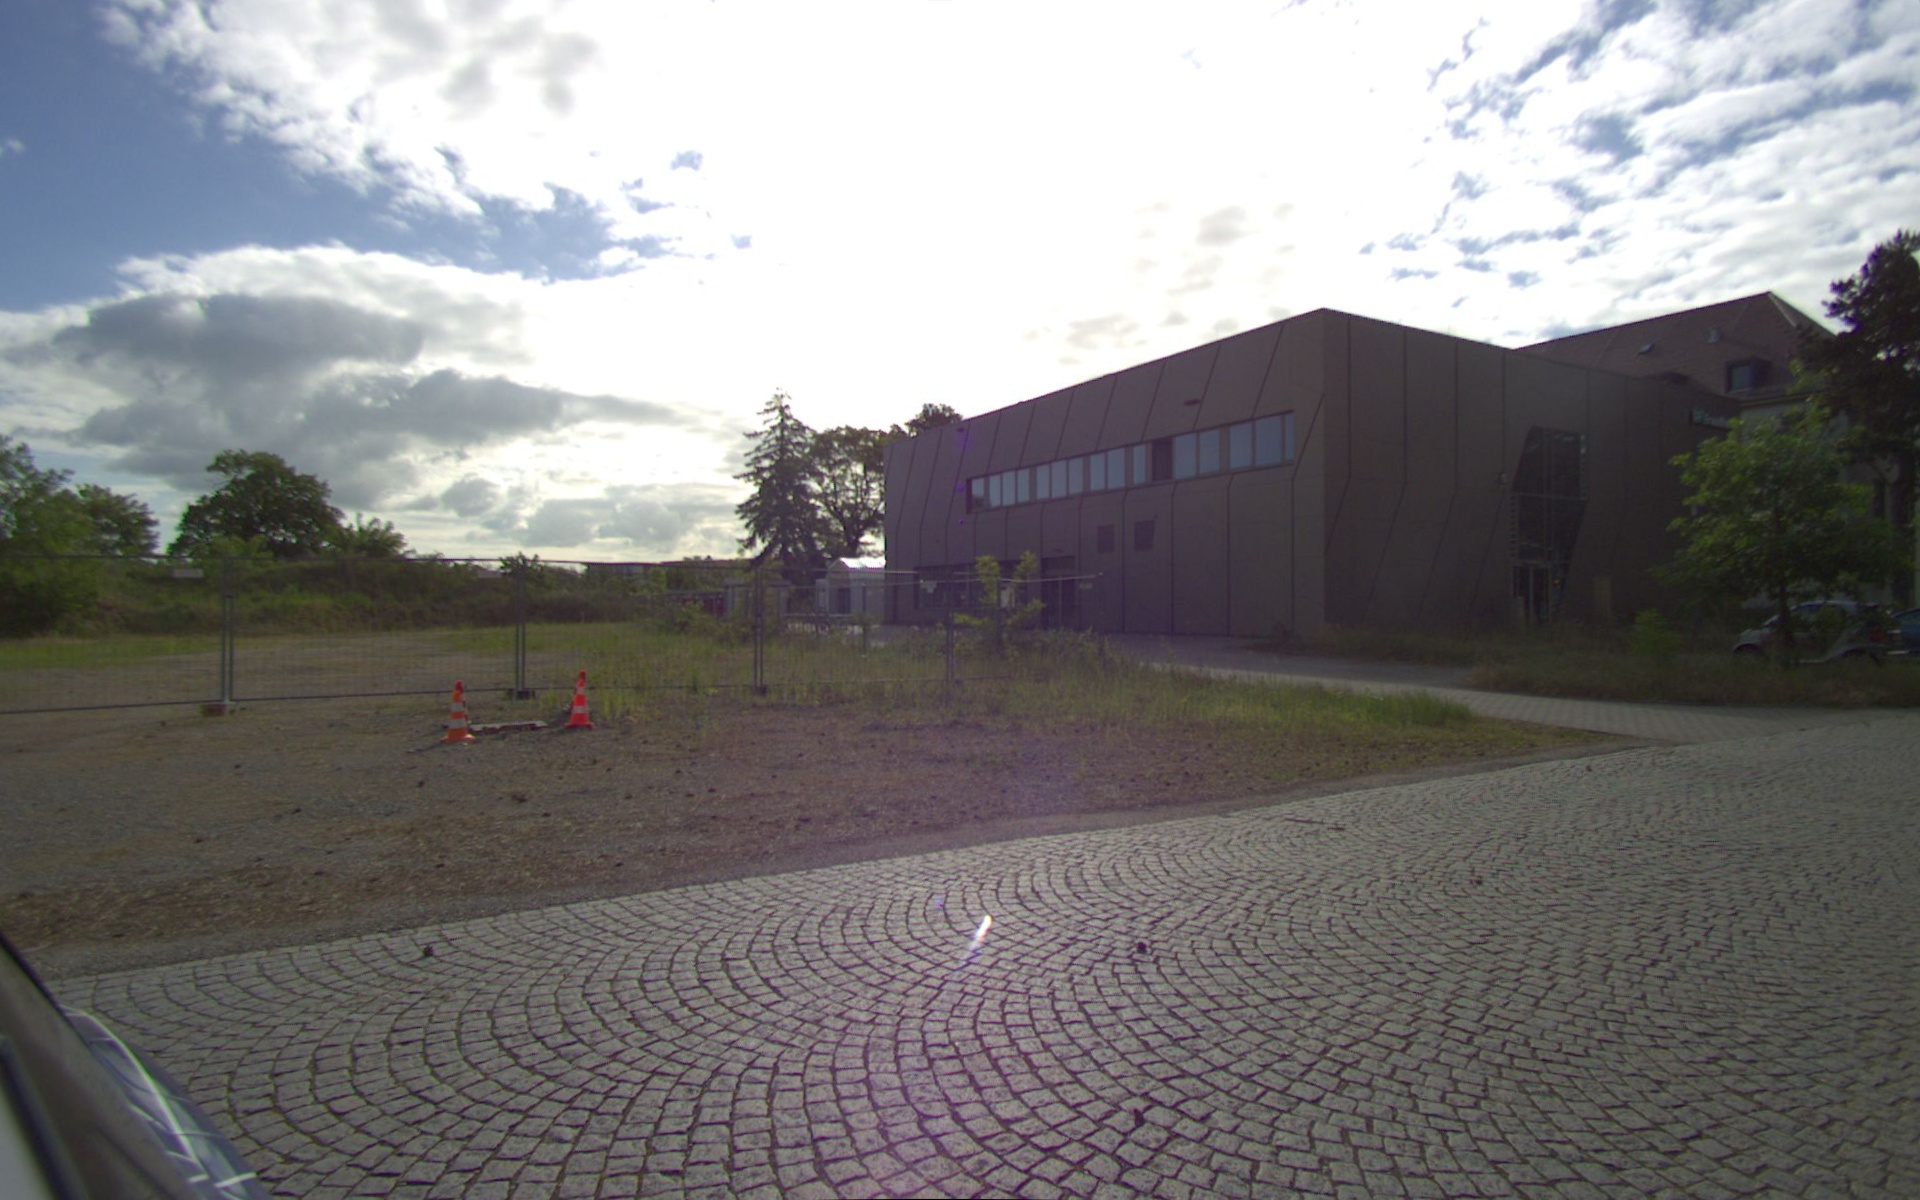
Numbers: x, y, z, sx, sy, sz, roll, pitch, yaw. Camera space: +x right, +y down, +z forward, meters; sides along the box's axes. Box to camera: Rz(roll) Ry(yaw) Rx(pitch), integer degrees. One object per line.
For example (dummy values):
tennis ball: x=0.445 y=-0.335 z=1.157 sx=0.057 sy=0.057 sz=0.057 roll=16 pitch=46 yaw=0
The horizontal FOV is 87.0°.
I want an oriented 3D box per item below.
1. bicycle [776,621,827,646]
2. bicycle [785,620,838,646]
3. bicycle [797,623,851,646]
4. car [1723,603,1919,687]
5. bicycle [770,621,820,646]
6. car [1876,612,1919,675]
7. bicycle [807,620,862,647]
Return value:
bicycle: x=-7.035 y=1.465 z=44.868 sx=2.034 sy=1.052 sz=0.949 roll=0 pitch=-1 yaw=-33
bicycle: x=-6.445 y=1.427 z=43.912 sx=2.034 sy=1.052 sz=0.949 roll=0 pitch=-1 yaw=-33
bicycle: x=-5.794 y=1.477 z=43.123 sx=2.034 sy=0.928 sz=0.949 roll=0 pitch=-1 yaw=-33
car: x=17.470 y=0.873 z=20.566 sx=1.400 sy=1.561 sz=2.778 roll=0 pitch=-1 yaw=-26
bicycle: x=-7.451 y=1.498 z=45.805 sx=2.034 sy=1.052 sz=0.949 roll=0 pitch=-1 yaw=-33
car: x=23.842 y=1.072 z=23.820 sx=1.467 sy=1.468 sz=3.102 roll=0 pitch=1 yaw=-35
bicycle: x=-5.199 y=1.376 z=42.016 sx=2.034 sy=1.095 sz=0.949 roll=0 pitch=-1 yaw=-33
